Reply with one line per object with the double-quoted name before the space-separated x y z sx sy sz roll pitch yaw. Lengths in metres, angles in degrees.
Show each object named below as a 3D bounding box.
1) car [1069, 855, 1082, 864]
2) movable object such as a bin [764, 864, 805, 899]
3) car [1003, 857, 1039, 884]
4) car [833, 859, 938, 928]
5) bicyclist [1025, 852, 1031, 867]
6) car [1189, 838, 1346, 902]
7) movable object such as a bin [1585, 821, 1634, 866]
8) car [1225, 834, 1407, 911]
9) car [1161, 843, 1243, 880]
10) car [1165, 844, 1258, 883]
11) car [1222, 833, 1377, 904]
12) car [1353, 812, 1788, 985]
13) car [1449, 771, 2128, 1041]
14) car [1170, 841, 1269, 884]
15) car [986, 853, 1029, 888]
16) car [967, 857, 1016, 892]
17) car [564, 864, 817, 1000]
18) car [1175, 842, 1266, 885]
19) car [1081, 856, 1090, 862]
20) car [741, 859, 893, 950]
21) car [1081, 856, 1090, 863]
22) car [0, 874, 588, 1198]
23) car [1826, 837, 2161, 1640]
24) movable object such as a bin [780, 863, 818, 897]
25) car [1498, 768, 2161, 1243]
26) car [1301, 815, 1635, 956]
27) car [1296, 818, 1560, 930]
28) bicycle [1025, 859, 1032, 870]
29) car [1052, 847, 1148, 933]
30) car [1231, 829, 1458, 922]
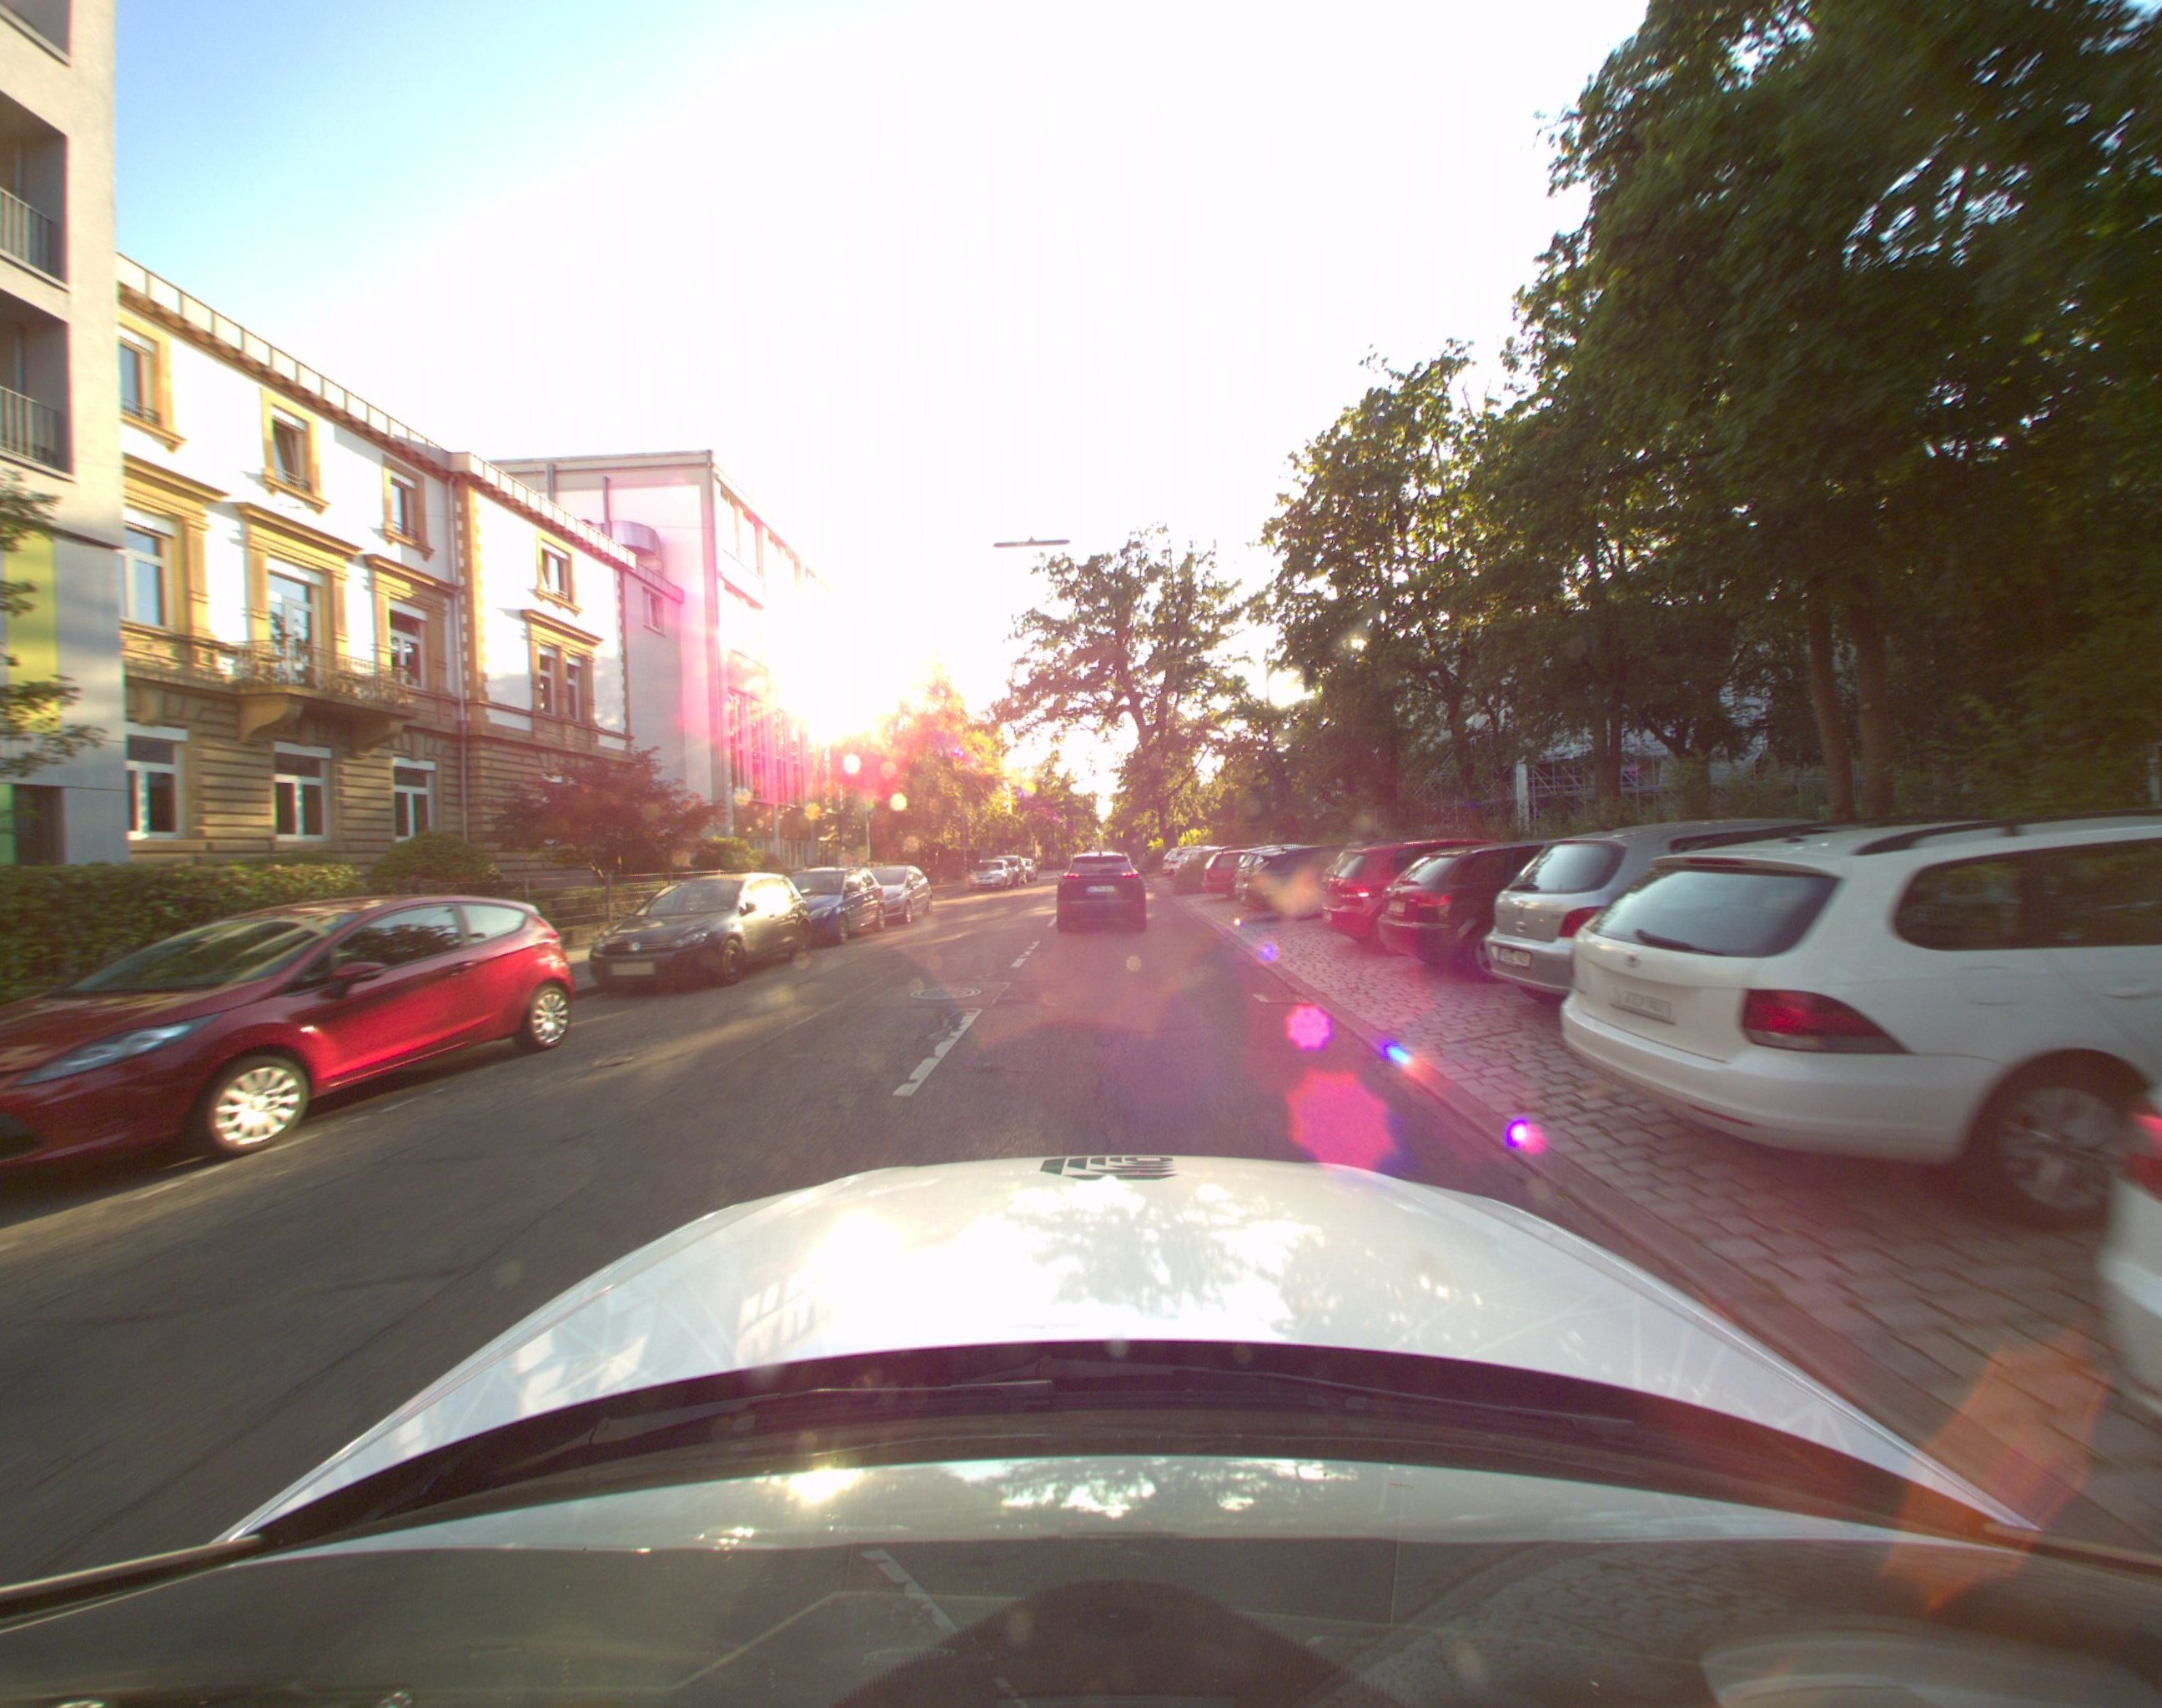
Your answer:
"car" -0.858 0.881 128.090 1.806 1.354 3.996 -3 0 -3
"movable object such as a bin" -12.800 1.169 35.183 1.093 1.430 1.488 -2 0 5
"car" -3.730 0.985 51.152 1.672 1.457 3.884 -4 0 3
"car" -5.002 0.948 21.330 1.594 1.493 3.775 -4 0 3
"bicyclist" -5.738 0.560 88.094 0.674 1.603 0.705 -2 0 -4
"car" 5.564 0.451 24.725 4.320 1.475 1.743 -5 1 2
"movable object such as a bin" 17.623 -0.350 27.174 0.957 1.439 0.986 -3 0 5
"car" 5.657 0.433 20.001 3.908 1.454 1.833 -5 0 3
"car" 6.307 0.385 42.769 4.149 1.710 1.870 -2 0 6
"car" 6.039 0.436 37.996 4.106 1.667 1.724 -2 0 2
"car" 5.986 0.386 22.559 3.702 1.555 1.740 -5 0 -2
"car" 5.256 0.463 9.173 3.735 1.395 1.757 -6 -1 2
"car" 5.276 0.373 6.541 3.711 1.498 1.821 -6 -1 2
"car" 5.590 0.334 33.147 3.732 1.594 1.697 -2 0 0
"car" -3.995 0.851 44.761 1.672 1.708 4.343 -4 0 3
"car" -4.255 0.948 39.185 1.664 1.494 4.064 -2 0 3
"car" -5.405 0.976 11.939 1.593 1.455 4.056 -4 0 1
"car" 6.051 0.408 35.551 3.576 1.566 1.819 -4 -1 1
"car" 1.016 1.080 178.226 1.805 1.354 3.997 -3 0 -2
"car" -5.286 0.944 16.841 1.591 1.507 3.791 -4 0 4
"car" 0.907 1.071 168.163 1.805 1.354 3.976 -3 0 -2
"car" -5.573 0.949 5.867 1.593 1.455 3.862 -2 0 1
"car" 3.787 0.582 1.232 3.655 1.444 1.735 -6 0 0
"movable object such as a bin" -12.669 1.172 36.631 1.093 1.430 1.374 -2 0 5
"car" 4.322 0.478 3.901 3.655 1.552 1.735 -6 0 0
"car" 5.305 0.425 11.570 3.793 1.474 1.757 -6 -1 2
"car" 5.967 0.339 14.381 3.793 1.474 1.833 -6 -1 2
"bicycle" -5.722 1.130 88.162 0.685 1.249 2.189 -2 0 -4
"car" 0.373 0.674 16.959 1.762 1.568 3.380 -1 0 0
"car" 5.383 0.435 17.059 4.103 1.474 1.833 -5 0 3
